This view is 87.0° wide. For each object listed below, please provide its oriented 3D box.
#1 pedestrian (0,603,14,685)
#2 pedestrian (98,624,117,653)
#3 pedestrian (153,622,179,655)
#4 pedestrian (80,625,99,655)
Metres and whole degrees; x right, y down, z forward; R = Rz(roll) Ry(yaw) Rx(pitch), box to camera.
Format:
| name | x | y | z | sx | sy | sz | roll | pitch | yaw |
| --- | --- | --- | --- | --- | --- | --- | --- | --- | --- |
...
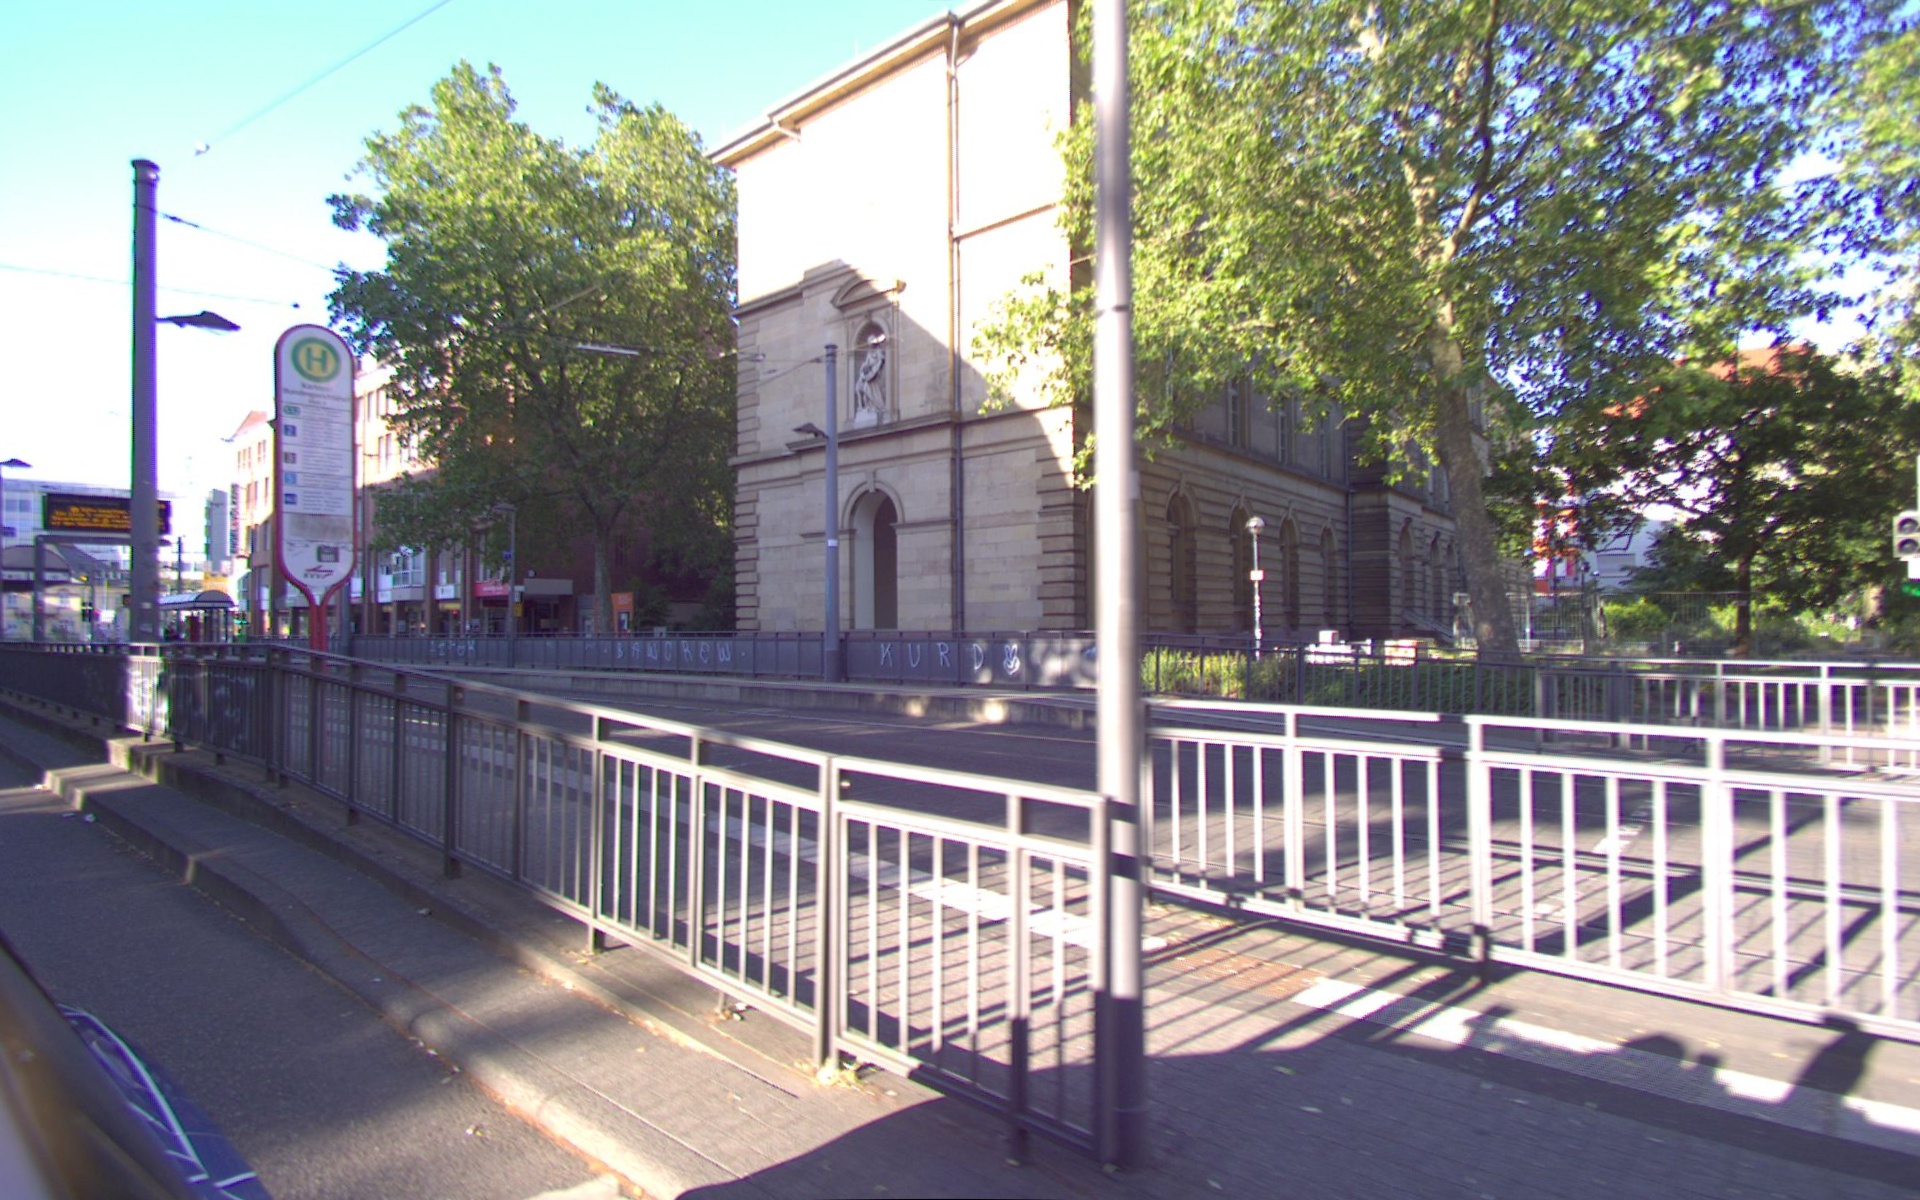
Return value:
| name | x | y | z | sx | sy | sz | roll | pitch | yaw |
| --- | --- | --- | --- | --- | --- | --- | --- | --- | --- |
| pedestrian | -20.579 | 0.943 | 21.504 | 0.849 | 1.725 | 0.616 | -2 | -2 | 41 |
| pedestrian | -54.230 | 2.467 | 64.385 | 0.847 | 1.780 | 0.812 | -3 | 1 | -41 |
| pedestrian | -41.339 | 1.995 | 52.665 | 0.967 | 1.674 | 0.902 | -2 | -1 | 40 |
| pedestrian | -54.972 | 2.513 | 63.889 | 0.848 | 1.780 | 0.812 | -3 | 1 | -42 |
